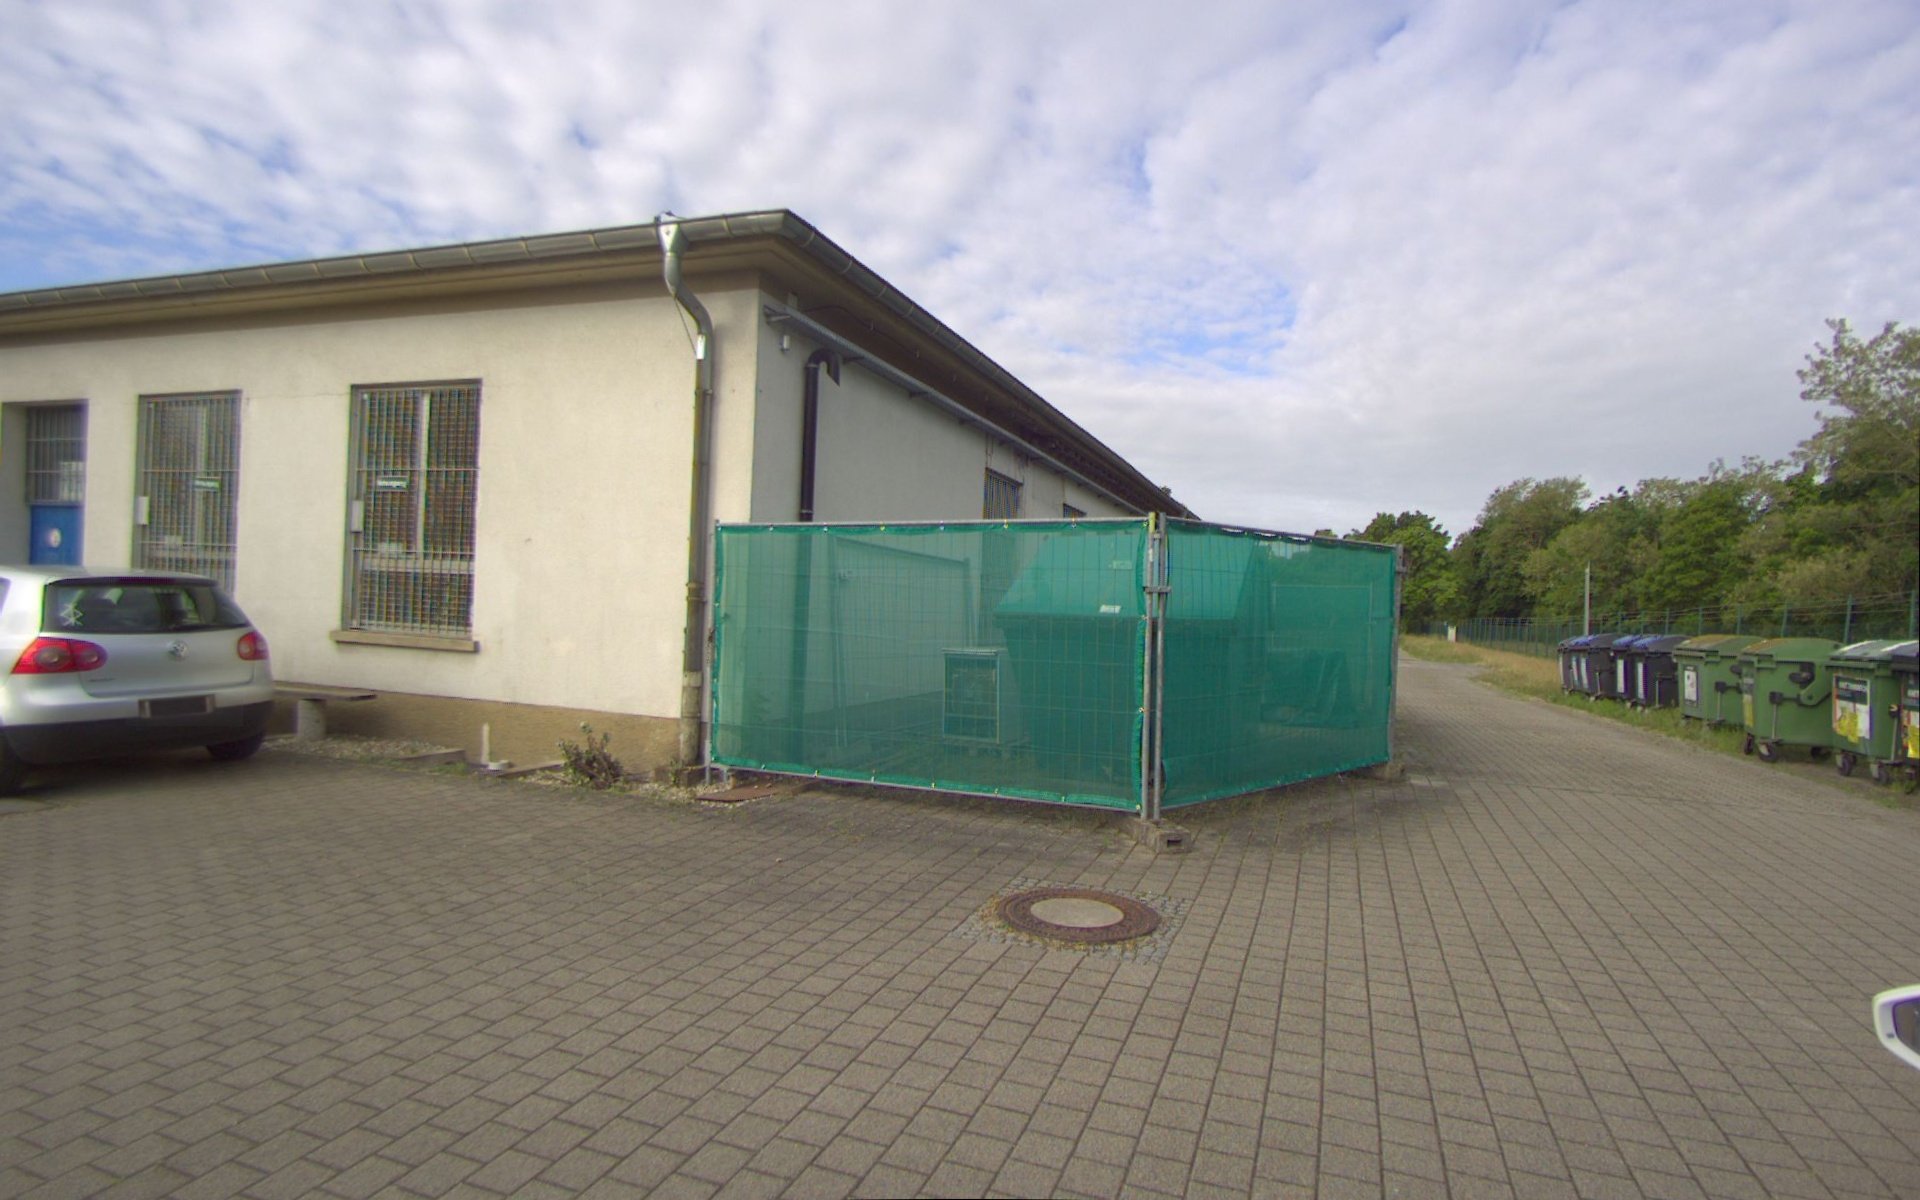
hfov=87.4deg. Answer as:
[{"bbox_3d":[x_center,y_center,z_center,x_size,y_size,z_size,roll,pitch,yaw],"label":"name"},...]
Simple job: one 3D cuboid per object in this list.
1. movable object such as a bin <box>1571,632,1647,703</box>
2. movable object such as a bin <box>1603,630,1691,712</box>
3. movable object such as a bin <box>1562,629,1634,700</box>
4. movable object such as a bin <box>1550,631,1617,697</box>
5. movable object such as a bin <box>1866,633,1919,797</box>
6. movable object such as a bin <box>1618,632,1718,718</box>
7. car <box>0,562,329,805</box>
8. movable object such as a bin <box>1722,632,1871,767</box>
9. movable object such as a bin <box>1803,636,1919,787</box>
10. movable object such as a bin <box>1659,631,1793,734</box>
[{"bbox_3d":[13.008,1.326,20.177,1.105,1.339,1.324,2,-1,27],"label":"movable object such as a bin"},{"bbox_3d":[12.728,1.293,18.671,1.105,1.392,1.492,3,-1,26],"label":"movable object such as a bin"},{"bbox_3d":[13.543,1.359,21.364,1.105,1.397,1.324,3,-1,27],"label":"movable object such as a bin"},{"bbox_3d":[14.064,1.421,22.697,1.105,1.368,1.424,3,-1,27],"label":"movable object such as a bin"},{"bbox_3d":[9.138,1.051,9.018,1.052,1.453,1.398,3,-1,24],"label":"movable object such as a bin"},{"bbox_3d":[12.096,1.253,17.221,1.136,1.342,1.492,3,-1,26],"label":"movable object such as a bin"},{"bbox_3d":[-7.293,0.452,7.737,4.283,1.458,1.930,2,-1,22],"label":"car"},{"bbox_3d":[9.832,1.129,11.882,1.107,1.416,1.382,3,-1,32],"label":"movable object such as a bin"},{"bbox_3d":[9.570,1.111,10.279,1.052,1.424,1.384,3,-1,24],"label":"movable object such as a bin"},{"bbox_3d":[10.834,1.131,14.275,1.104,1.313,1.380,3,-1,20],"label":"movable object such as a bin"}]
